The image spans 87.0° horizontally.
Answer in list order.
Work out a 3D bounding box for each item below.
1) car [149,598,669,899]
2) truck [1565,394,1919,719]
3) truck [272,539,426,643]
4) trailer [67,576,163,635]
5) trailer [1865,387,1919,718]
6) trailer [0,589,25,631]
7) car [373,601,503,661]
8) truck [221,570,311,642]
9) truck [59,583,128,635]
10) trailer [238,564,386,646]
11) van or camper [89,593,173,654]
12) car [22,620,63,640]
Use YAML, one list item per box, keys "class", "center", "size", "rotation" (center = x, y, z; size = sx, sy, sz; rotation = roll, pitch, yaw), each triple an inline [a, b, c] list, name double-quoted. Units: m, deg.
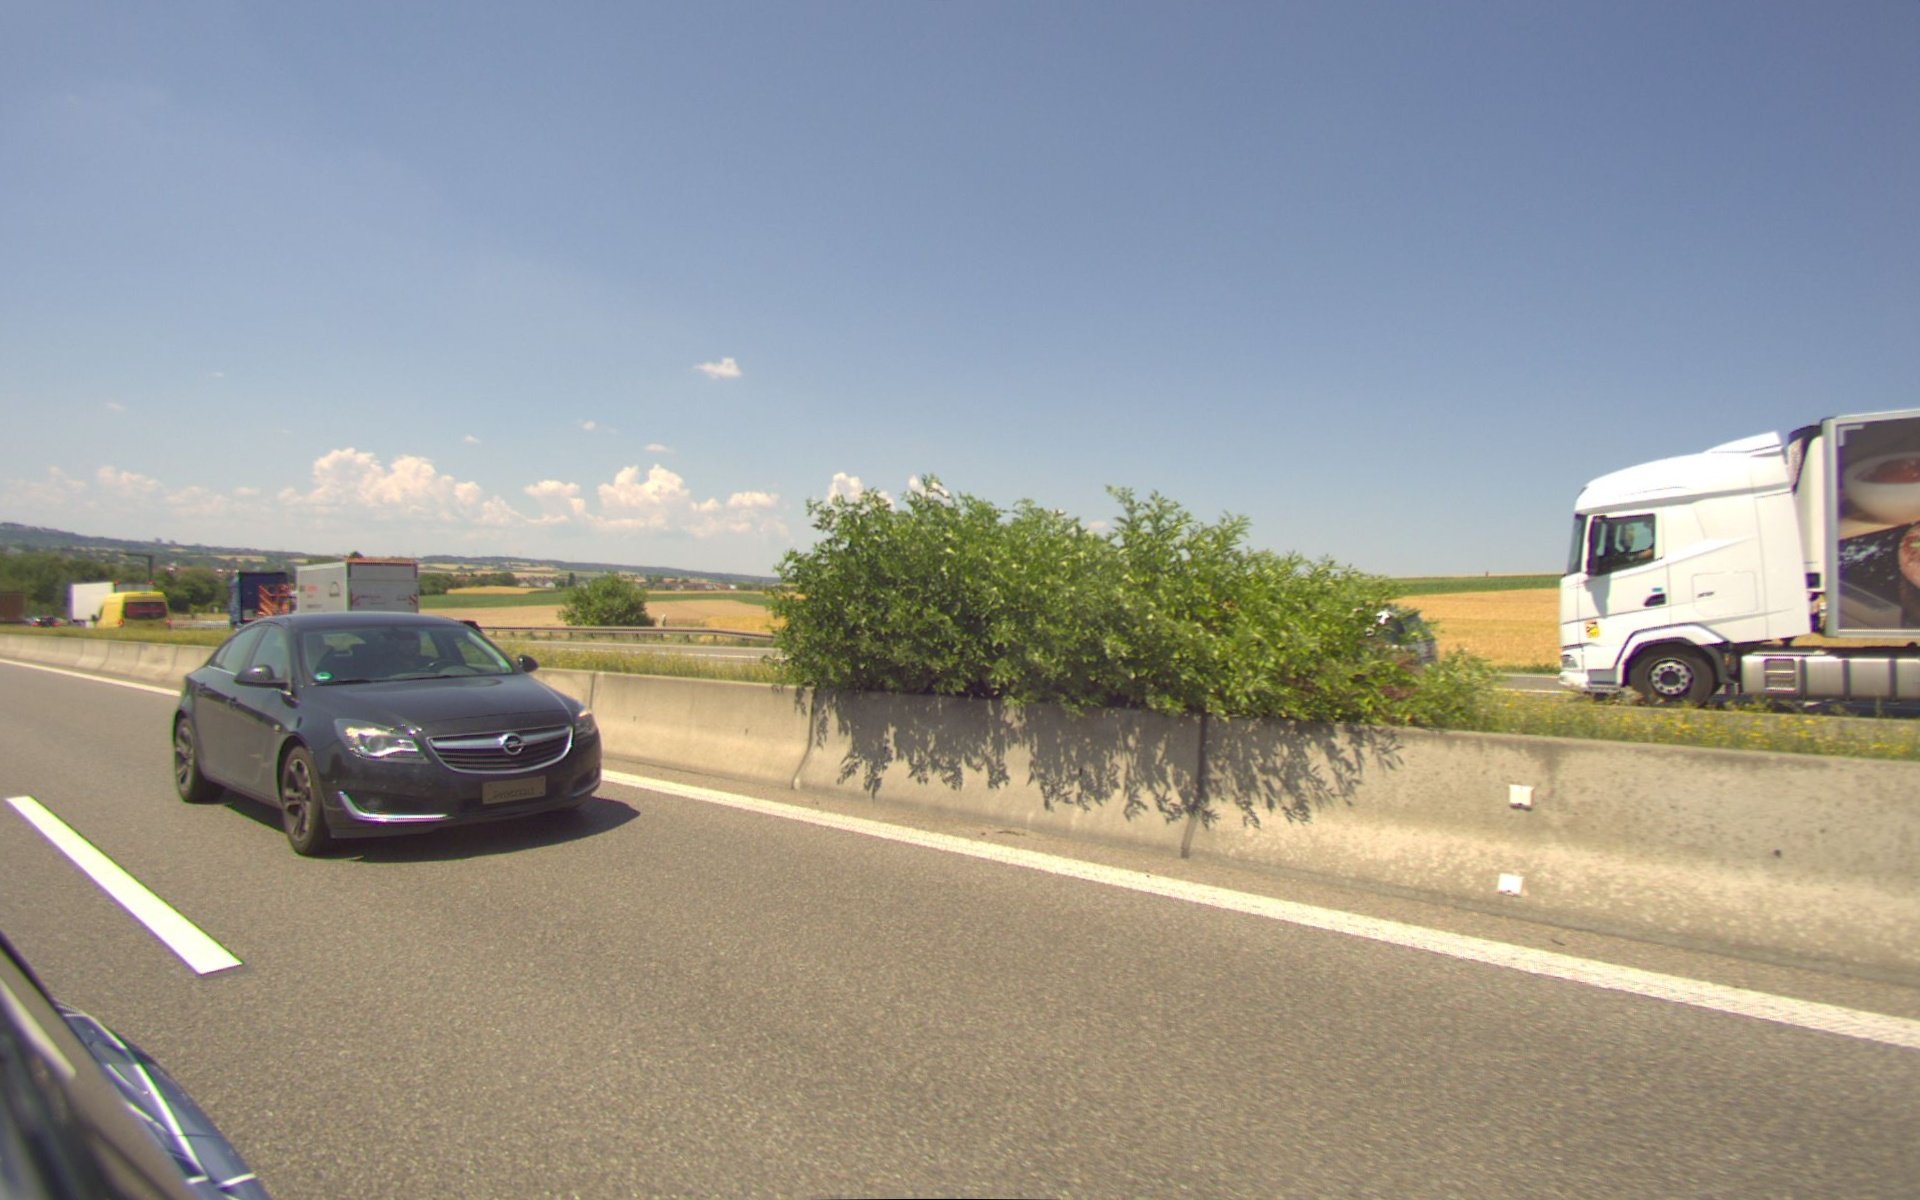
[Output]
- class: "car"
  center: [-4.290, 0.806, 7.479]
  size: [4.746, 1.555, 1.785]
  rotation: [-1, -1, 40]
- class: "truck"
  center: [12.474, -0.546, 14.082]
  size: [6.513, 4.057, 2.822]
  rotation: [-1, 0, 42]
- class: "truck"
  center: [-24.488, -0.274, 40.404]
  size: [7.773, 3.772, 2.906]
  rotation: [-2, -1, 40]
- class: "trailer"
  center: [-67.855, 0.515, 81.096]
  size: [14.011, 4.420, 3.210]
  rotation: [-1, 0, 39]
- class: "trailer"
  center: [17.736, -0.672, 9.276]
  size: [14.004, 4.136, 2.763]
  rotation: [-1, 0, 42]
- class: "trailer"
  center: [-105.275, 1.112, 110.106]
  size: [14.527, 4.357, 3.093]
  rotation: [-1, 0, 39]
- class: "car"
  center: [-14.134, 0.797, 27.334]
  size: [3.998, 1.479, 1.768]
  rotation: [-1, 0, 41]
- class: "truck"
  center: [-40.786, 0.372, 59.409]
  size: [6.131, 3.967, 2.749]
  rotation: [-1, -1, 39]
- class: "truck"
  center: [-73.183, 0.760, 85.418]
  size: [7.118, 4.238, 3.195]
  rotation: [-1, -1, 39]
- class: "trailer"
  center: [-35.293, 0.286, 54.714]
  size: [13.717, 3.988, 2.810]
  rotation: [-1, 0, 40]
- class: "van or camper"
  center: [-39.368, 1.078, 48.014]
  size: [6.135, 2.728, 2.063]
  rotation: [-1, 0, 41]
- class: "car"
  center: [-72.967, 2.367, 80.482]
  size: [4.499, 1.490, 1.801]
  rotation: [-1, 0, 40]
